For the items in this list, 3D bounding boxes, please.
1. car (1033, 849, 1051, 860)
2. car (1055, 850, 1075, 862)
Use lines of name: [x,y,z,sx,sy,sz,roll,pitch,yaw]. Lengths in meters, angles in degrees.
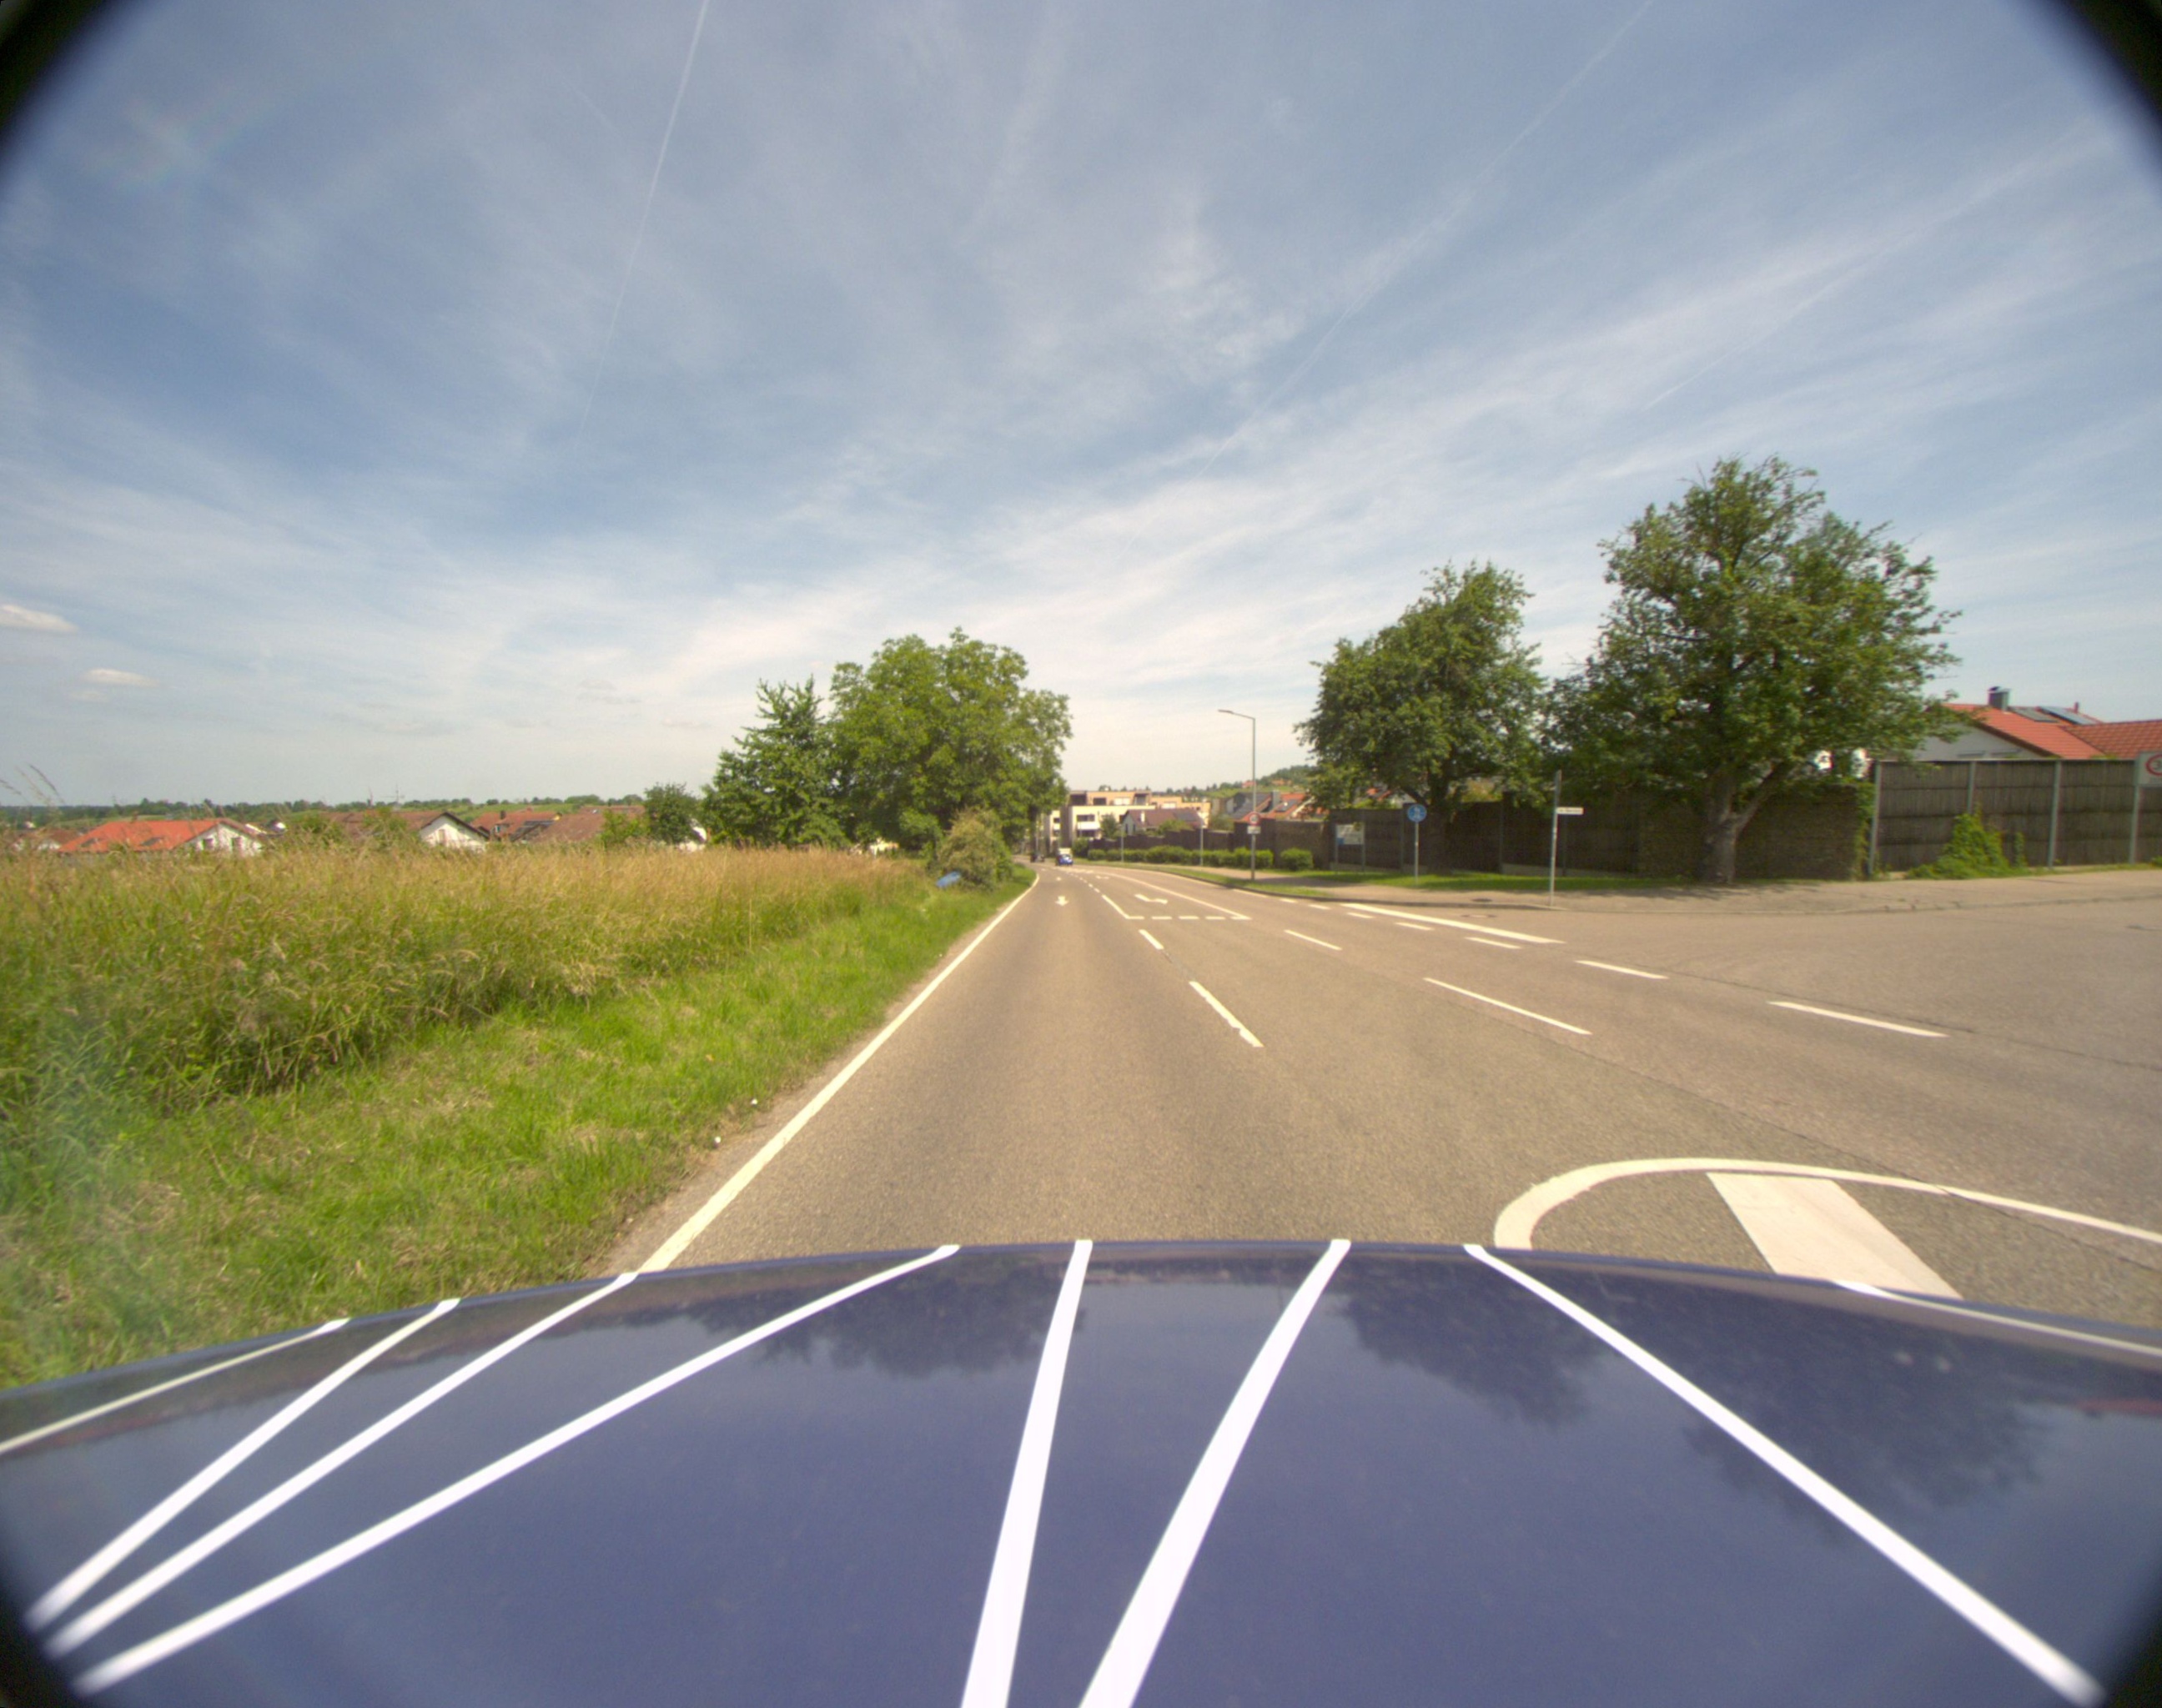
car: [-6.145,0.086,120.057,1.831,1.572,3.994,-1,0,-18]
car: [-1.944,0.284,93.467,1.614,1.483,3.844,-1,0,-14]
